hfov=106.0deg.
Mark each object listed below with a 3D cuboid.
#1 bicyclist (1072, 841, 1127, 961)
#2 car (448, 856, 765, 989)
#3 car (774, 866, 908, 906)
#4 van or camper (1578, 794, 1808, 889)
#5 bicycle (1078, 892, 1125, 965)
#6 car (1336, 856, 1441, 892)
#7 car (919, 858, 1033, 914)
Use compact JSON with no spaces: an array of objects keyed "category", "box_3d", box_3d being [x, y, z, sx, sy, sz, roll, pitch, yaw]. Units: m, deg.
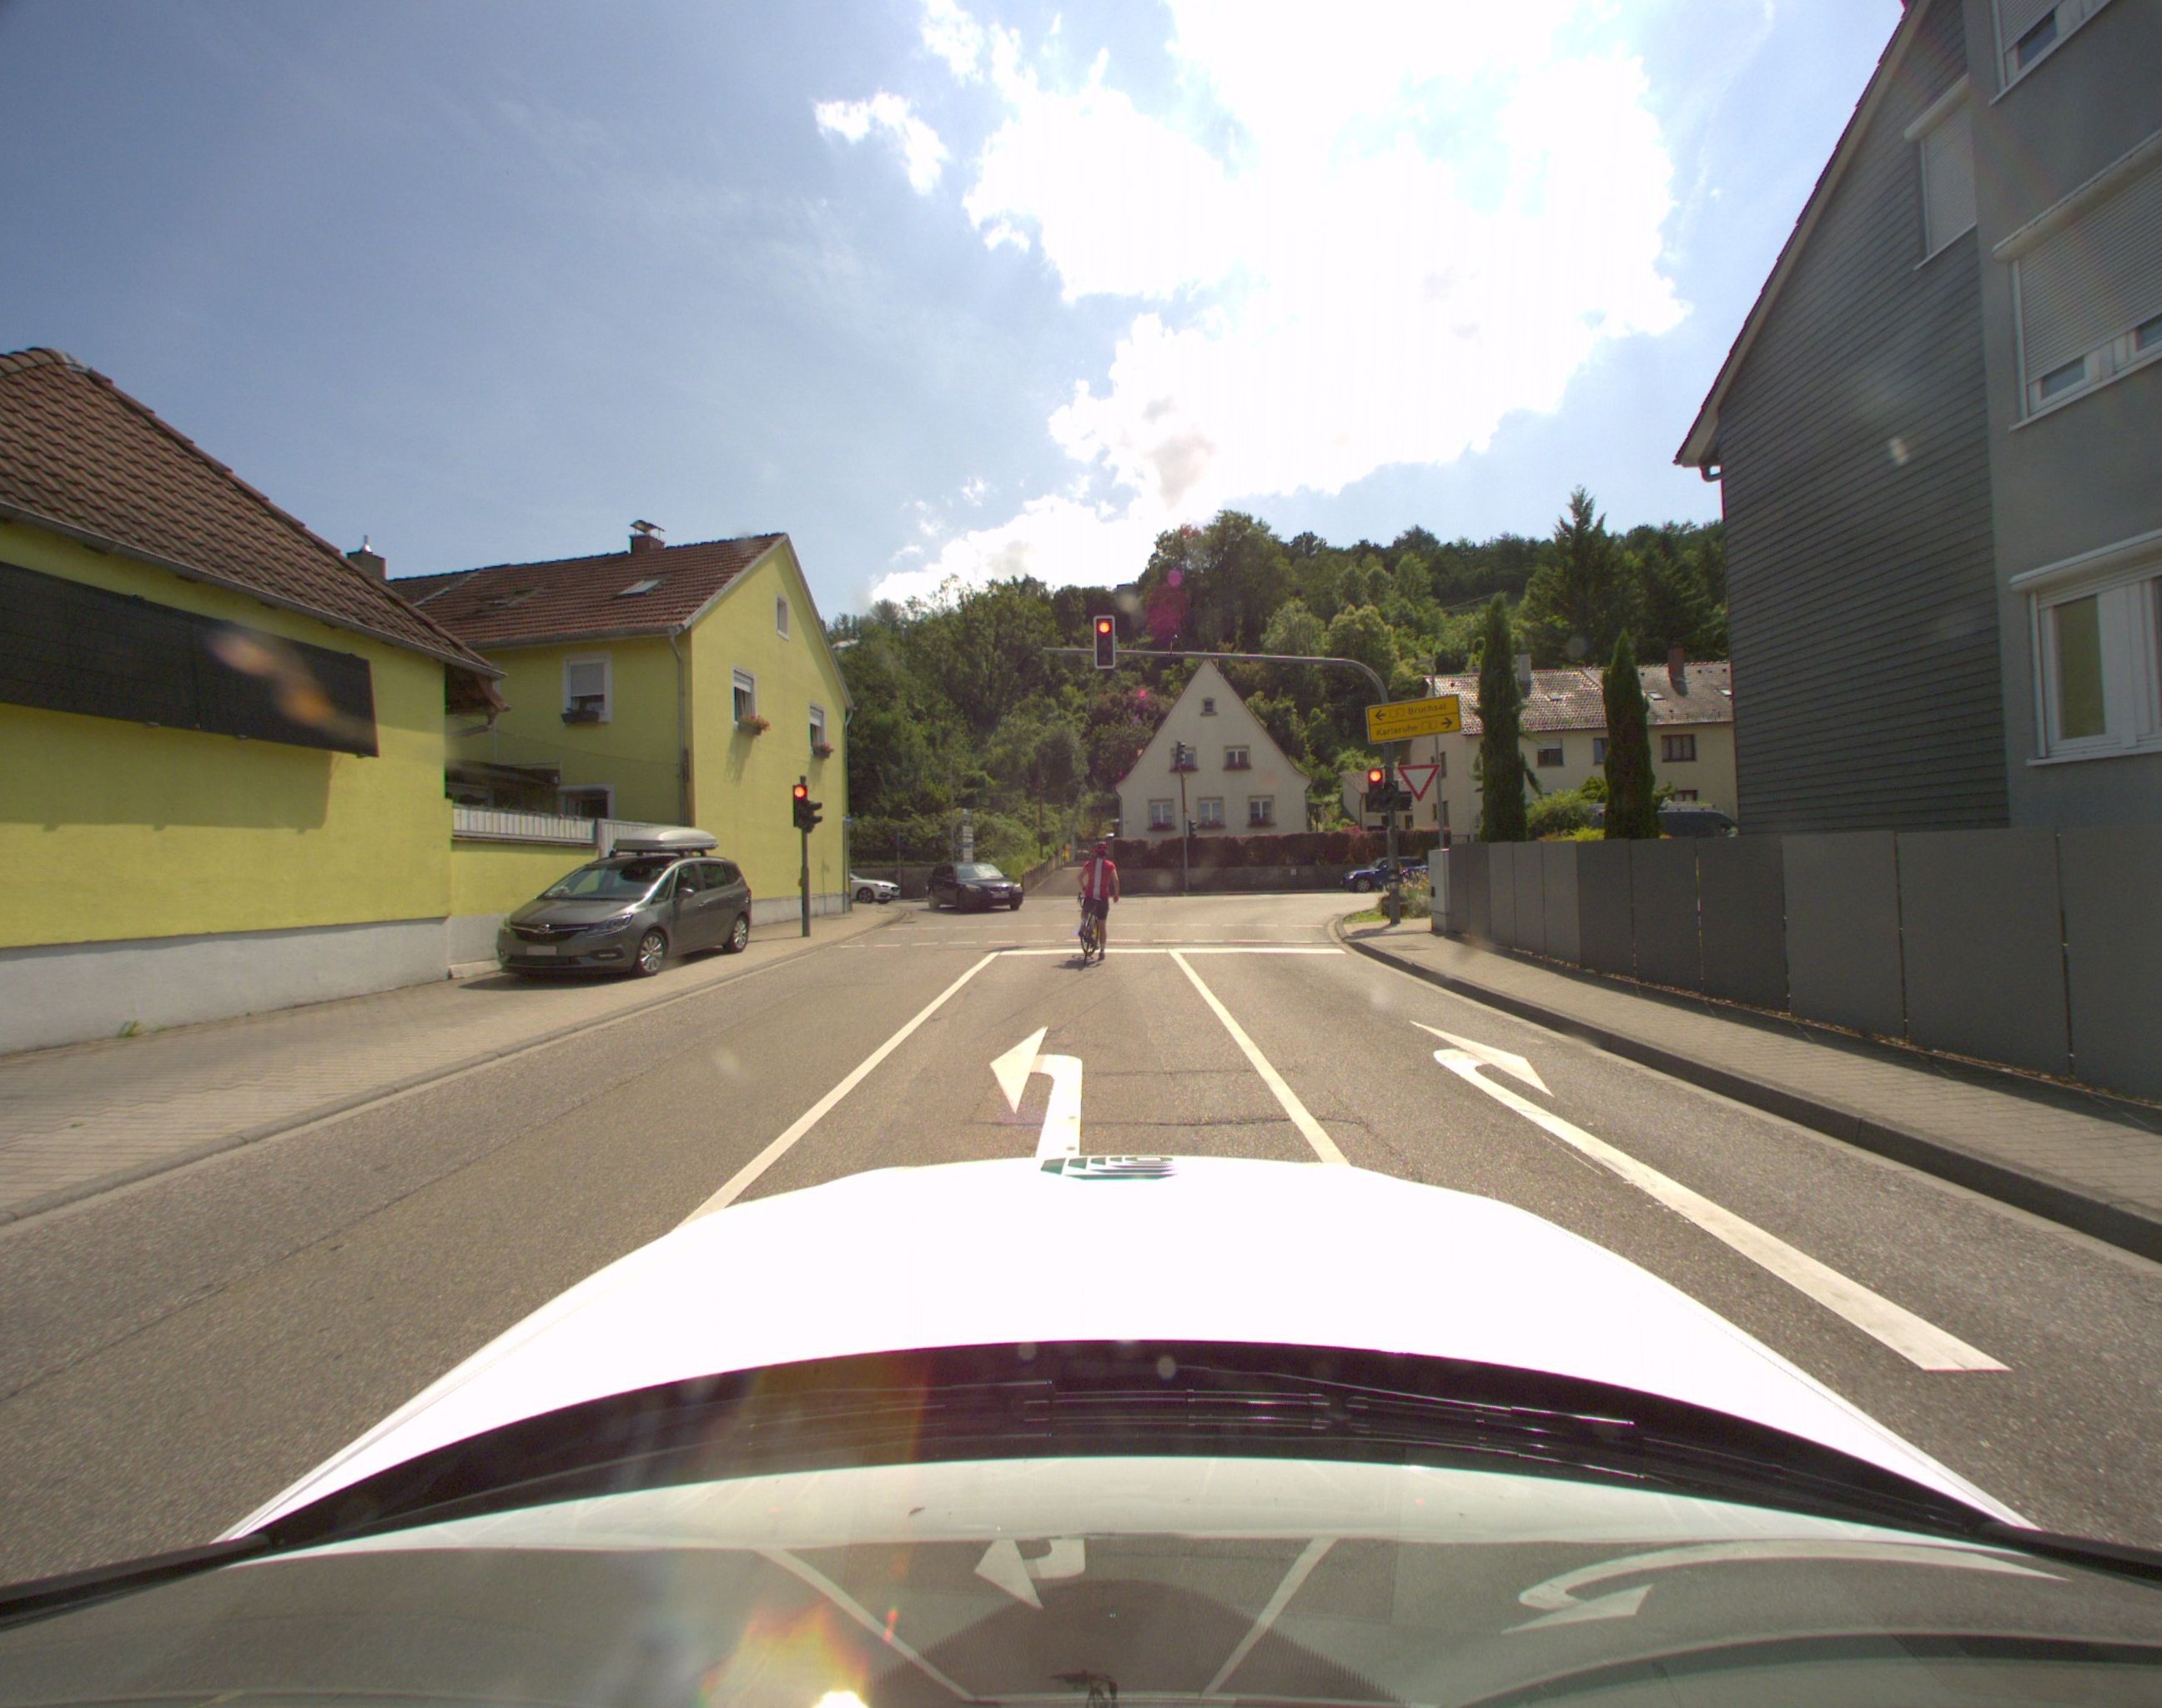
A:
[{"category":"bicyclist","box_3d":[0.262,0.657,11.779,0.758,1.664,0.869,0,-1,0]},{"category":"car","box_3d":[-6.706,0.849,12.291,1.986,1.635,4.631,0,0,1]},{"category":"car","box_3d":[-9.380,1.265,32.055,4.638,1.427,1.931,-1,-3,7]},{"category":"van or camper","box_3d":[20.895,-0.379,28.093,5.958,3.005,2.224,-1,-1,8]},{"category":"bicycle","box_3d":[0.291,1.037,11.749,0.627,0.905,1.657,0,0,1]},{"category":"car","box_3d":[12.235,0.808,32.537,3.591,1.363,1.646,-1,-3,5]},{"category":"car","box_3d":[-3.316,0.950,24.786,1.874,1.442,4.628,-3,0,-28]}]
